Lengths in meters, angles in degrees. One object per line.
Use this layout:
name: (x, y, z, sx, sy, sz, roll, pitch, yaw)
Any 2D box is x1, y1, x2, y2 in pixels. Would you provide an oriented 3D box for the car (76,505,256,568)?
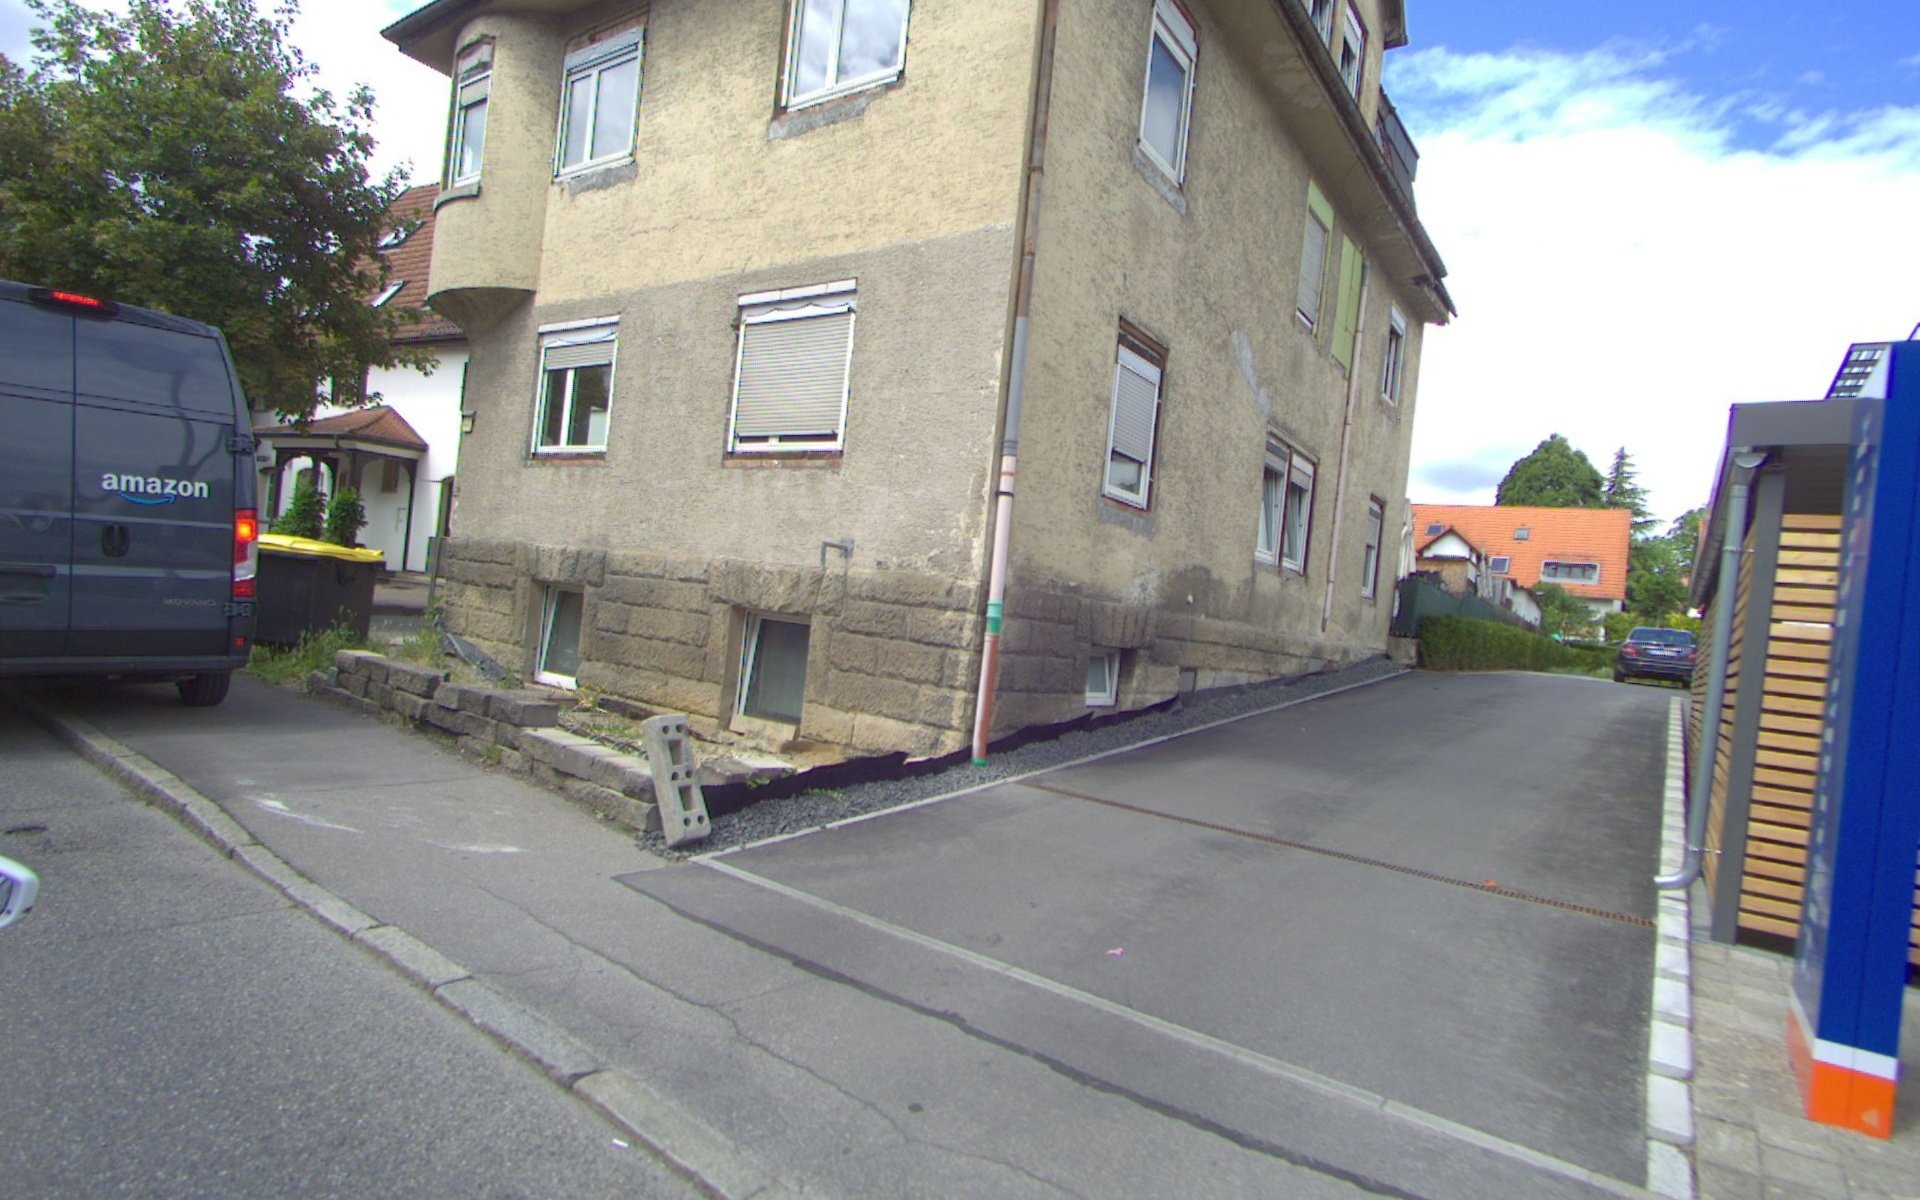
car: (-25.684, -2.001, 32.725, 1.747, 1.433, 4.182, 8, 1, 22)

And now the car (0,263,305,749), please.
car: (-7.663, -0.752, 8.129, 6.161, 2.804, 2.145, 7, 0, 41)

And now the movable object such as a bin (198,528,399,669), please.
movable object such as a bin: (-6.971, 0.000, 10.686, 1.186, 1.281, 1.187, 7, 0, 7)

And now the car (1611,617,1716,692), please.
car: (17.360, 1.402, 24.991, 1.823, 1.491, 3.992, 6, -2, 33)
